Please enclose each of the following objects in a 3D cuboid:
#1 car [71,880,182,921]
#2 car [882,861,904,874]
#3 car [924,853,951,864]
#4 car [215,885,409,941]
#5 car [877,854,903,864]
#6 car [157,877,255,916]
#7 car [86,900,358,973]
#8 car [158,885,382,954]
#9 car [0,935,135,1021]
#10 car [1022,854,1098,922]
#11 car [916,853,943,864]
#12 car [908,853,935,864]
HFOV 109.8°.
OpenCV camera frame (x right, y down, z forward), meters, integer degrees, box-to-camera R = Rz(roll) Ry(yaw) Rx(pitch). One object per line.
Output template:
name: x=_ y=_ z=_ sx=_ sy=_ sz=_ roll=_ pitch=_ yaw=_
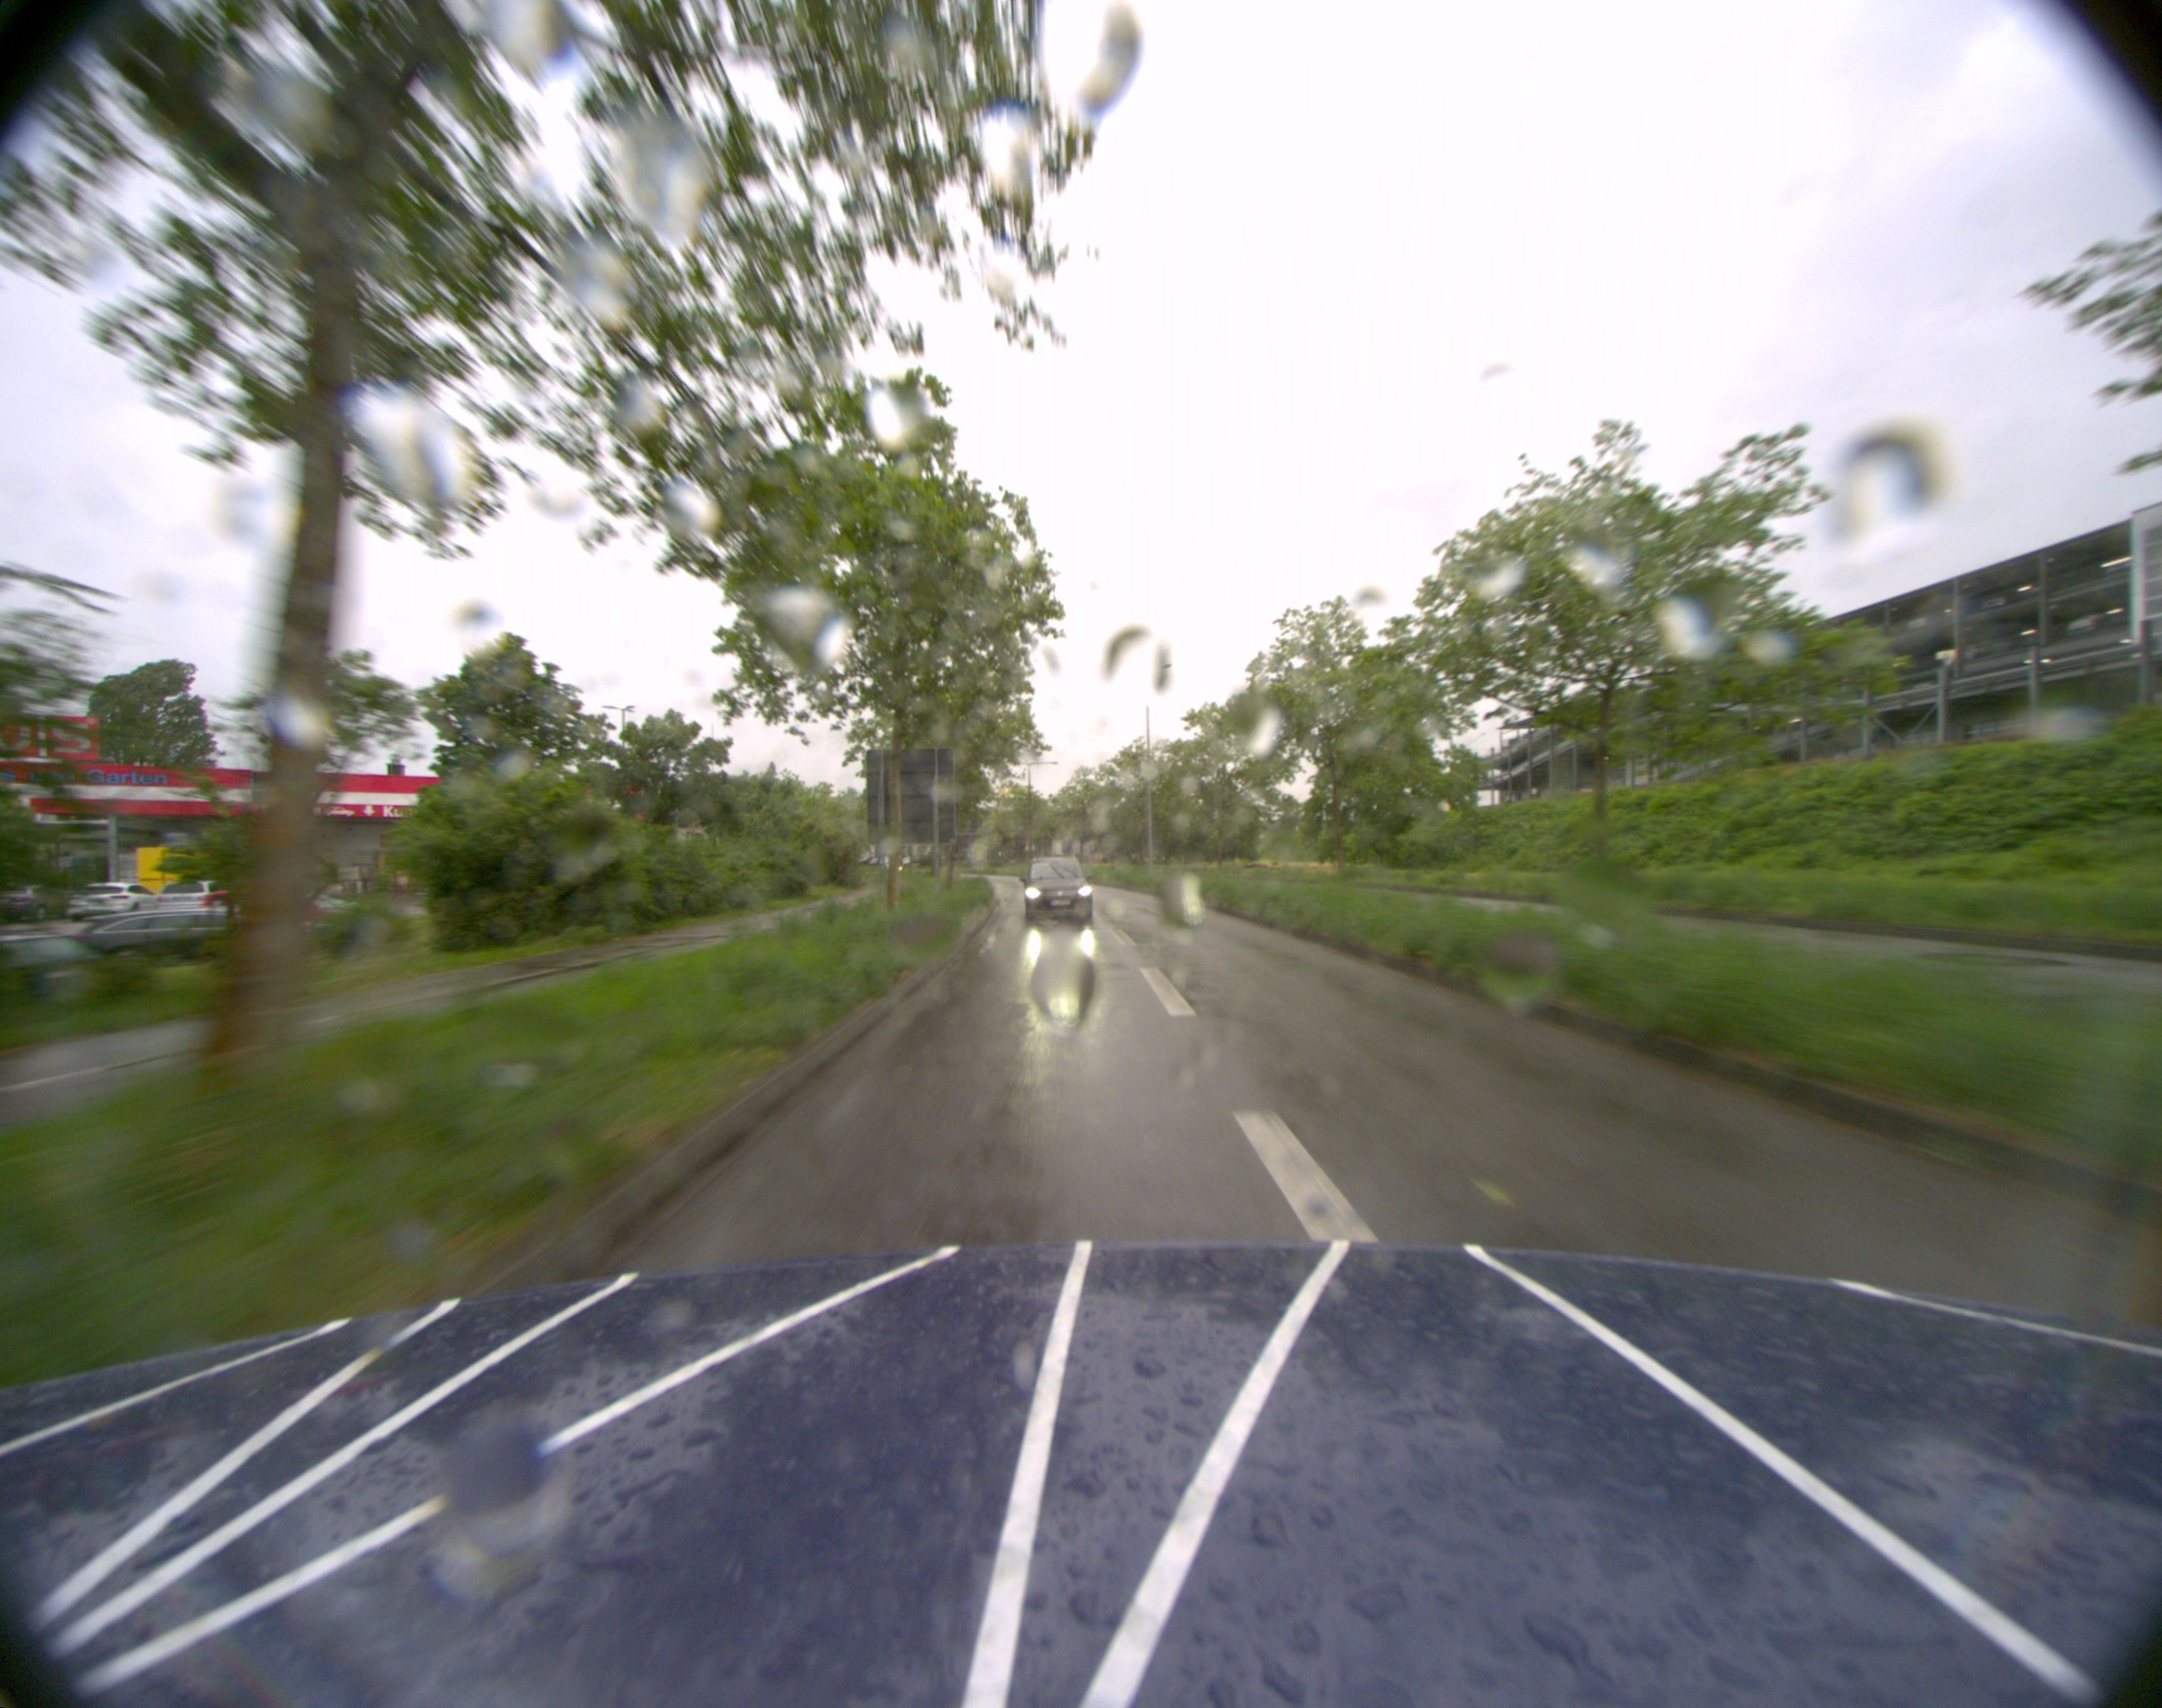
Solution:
car: x=-44.256 y=2.124 z=35.345 sx=1.757 sy=1.624 sz=3.838 roll=-2 pitch=0 yaw=-28
car: x=-24.529 y=1.717 z=99.126 sx=2.002 sy=1.641 sz=3.992 roll=-2 pitch=1 yaw=-25
car: x=-23.616 y=0.716 z=125.360 sx=1.860 sy=1.650 sz=4.007 roll=-1 pitch=2 yaw=41
car: x=-25.783 y=1.941 z=25.723 sx=4.302 sy=1.510 sz=1.750 roll=-2 pitch=1 yaw=-34
car: x=-34.372 y=0.930 z=136.647 sx=1.860 sy=1.650 sz=4.007 roll=-1 pitch=2 yaw=41
car: x=-41.893 y=1.976 z=36.506 sx=1.757 sy=1.624 sz=3.838 roll=-2 pitch=0 yaw=-28
car: x=-21.540 y=2.010 z=19.370 sx=4.303 sy=1.363 sz=1.750 roll=-2 pitch=1 yaw=-37
car: x=-24.252 y=1.886 z=22.982 sx=4.302 sy=1.664 sz=1.750 roll=-2 pitch=1 yaw=-34
car: x=-19.275 y=2.146 z=12.897 sx=3.846 sy=1.191 sz=1.753 roll=-2 pitch=0 yaw=-8
car: x=-0.722 y=0.878 z=21.909 sx=1.789 sy=1.605 sz=4.714 roll=-3 pitch=1 yaw=-6
car: x=-25.268 y=0.762 z=126.717 sx=1.860 sy=1.650 sz=4.007 roll=-1 pitch=2 yaw=41
car: x=-26.941 y=0.772 z=128.466 sx=1.860 sy=1.650 sz=4.007 roll=-1 pitch=2 yaw=41
